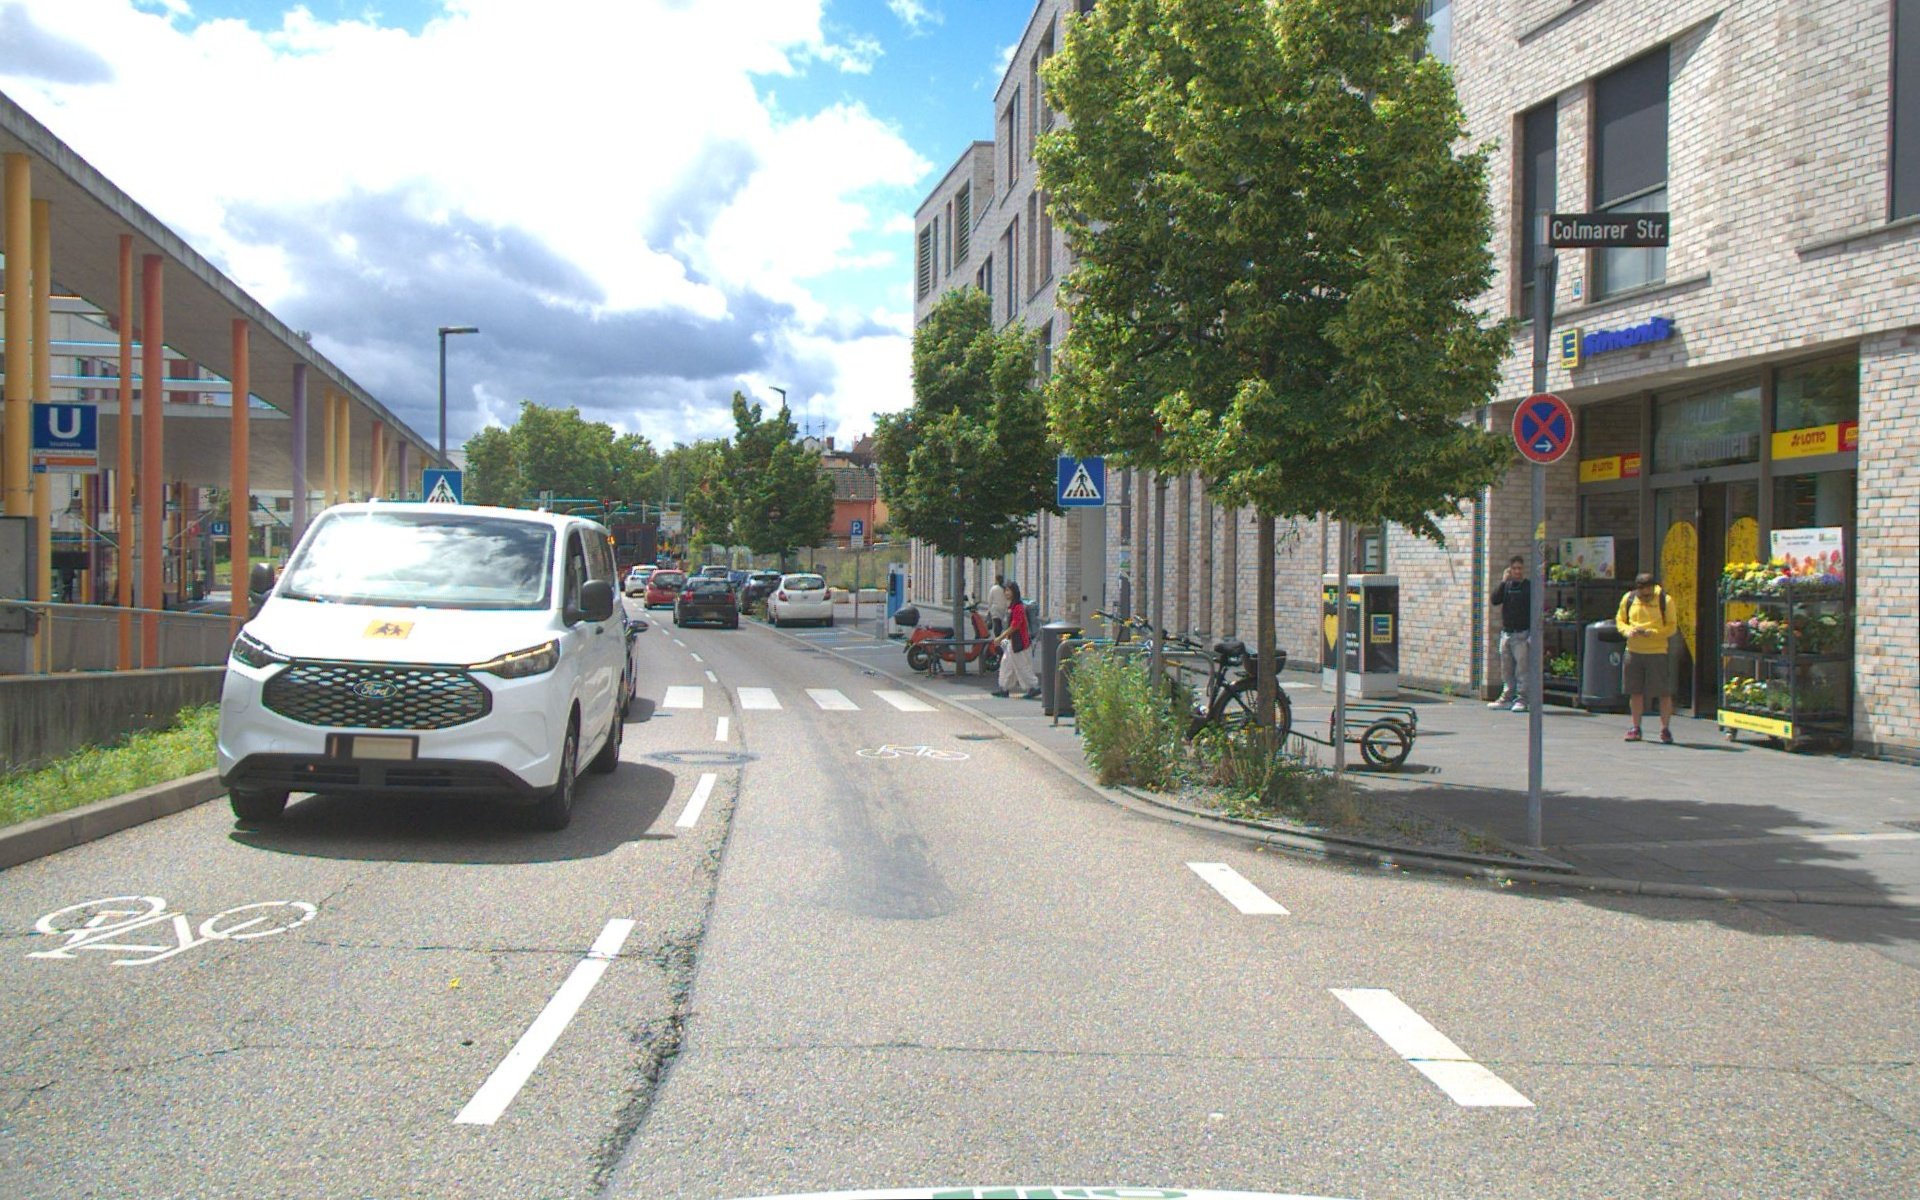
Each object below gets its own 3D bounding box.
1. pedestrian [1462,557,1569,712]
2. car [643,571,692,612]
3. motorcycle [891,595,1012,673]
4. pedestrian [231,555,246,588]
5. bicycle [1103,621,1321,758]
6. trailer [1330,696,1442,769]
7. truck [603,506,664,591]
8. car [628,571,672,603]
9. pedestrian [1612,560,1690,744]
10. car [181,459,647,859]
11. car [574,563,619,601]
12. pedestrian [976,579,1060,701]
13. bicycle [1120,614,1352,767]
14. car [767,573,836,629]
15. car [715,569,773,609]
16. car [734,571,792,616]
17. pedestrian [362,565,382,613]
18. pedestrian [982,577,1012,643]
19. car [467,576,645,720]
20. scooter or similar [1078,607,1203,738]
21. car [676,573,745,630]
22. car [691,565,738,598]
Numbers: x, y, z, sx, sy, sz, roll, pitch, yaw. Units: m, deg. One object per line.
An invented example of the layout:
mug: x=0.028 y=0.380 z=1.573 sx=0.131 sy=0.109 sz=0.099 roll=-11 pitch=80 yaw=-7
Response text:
pedestrian: x=6.508 y=0.387 z=19.391 sx=0.998 sy=1.772 sz=0.657 roll=0 pitch=0 yaw=-16
car: x=-10.954 y=-0.327 z=61.865 sx=1.682 sy=1.417 sz=3.798 roll=0 pitch=2 yaw=-12
motorcycle: x=-0.136 y=0.585 z=28.491 sx=2.007 sy=1.288 sz=0.673 roll=-1 pitch=0 yaw=5
pedestrian: x=-41.458 y=-1.652 z=95.090 sx=0.631 sy=1.839 sz=0.591 roll=2 pitch=-1 yaw=-13
bicycle: x=2.230 y=0.779 z=14.754 sx=1.787 sy=1.151 sz=0.755 roll=-1 pitch=0 yaw=-6
trailer: x=3.555 y=1.102 z=13.851 sx=0.705 sy=0.538 sz=0.811 roll=1 pitch=0 yaw=-3
truck: x=-19.064 y=-2.877 z=96.237 sx=3.148 sy=4.615 sz=8.999 roll=2 pitch=0 yaw=-13
car: x=-15.107 y=-0.640 z=80.443 sx=1.856 sy=1.491 sz=4.053 roll=-1 pitch=1 yaw=-15
pedestrian: x=6.663 y=0.483 z=15.941 sx=0.645 sy=1.722 sz=0.631 roll=0 pitch=0 yaw=28
car: x=-3.385 y=0.301 z=11.448 sx=1.956 sy=2.049 sz=5.386 roll=2 pitch=0 yaw=-7
car: x=-15.336 y=-0.779 z=69.879 sx=1.780 sy=1.494 sz=3.896 roll=2 pitch=1 yaw=-12
pedestrian: x=0.774 y=0.539 z=22.387 sx=0.912 sy=1.592 sz=0.812 roll=2 pitch=-1 yaw=-15
bicycle: x=2.311 y=0.741 z=13.955 sx=1.787 sy=1.222 sz=0.755 roll=-1 pitch=0 yaw=-6
car: x=-4.728 y=-0.005 z=48.831 sx=1.662 sy=1.509 sz=3.788 roll=-1 pitch=2 yaw=-11
car: x=-8.442 y=-0.455 z=64.359 sx=1.832 sy=1.476 sz=4.629 roll=-1 pitch=2 yaw=-13
car: x=-6.934 y=-0.254 z=57.894 sx=1.662 sy=1.486 sz=4.135 roll=-1 pitch=2 yaw=-11
pedestrian: x=-23.175 y=-0.424 z=65.168 sx=0.631 sy=1.839 sz=0.591 roll=2 pitch=-1 yaw=-13
pedestrian: x=0.850 y=0.223 z=38.366 sx=0.595 sy=1.498 sz=0.790 roll=-1 pitch=1 yaw=-5
car: x=-4.693 y=0.492 z=19.692 sx=1.740 sy=1.489 sz=4.224 roll=2 pitch=1 yaw=-10
scooter or similar: x=1.809 y=0.715 z=16.645 sx=1.173 sy=1.271 sz=0.493 roll=-1 pitch=0 yaw=-6
car: x=-7.219 y=0.010 z=47.711 sx=1.696 sy=1.482 sz=3.797 roll=0 pitch=2 yaw=-13
car: x=-11.721 y=-0.911 z=78.689 sx=1.752 sy=1.477 sz=4.459 roll=-1 pitch=2 yaw=-14
